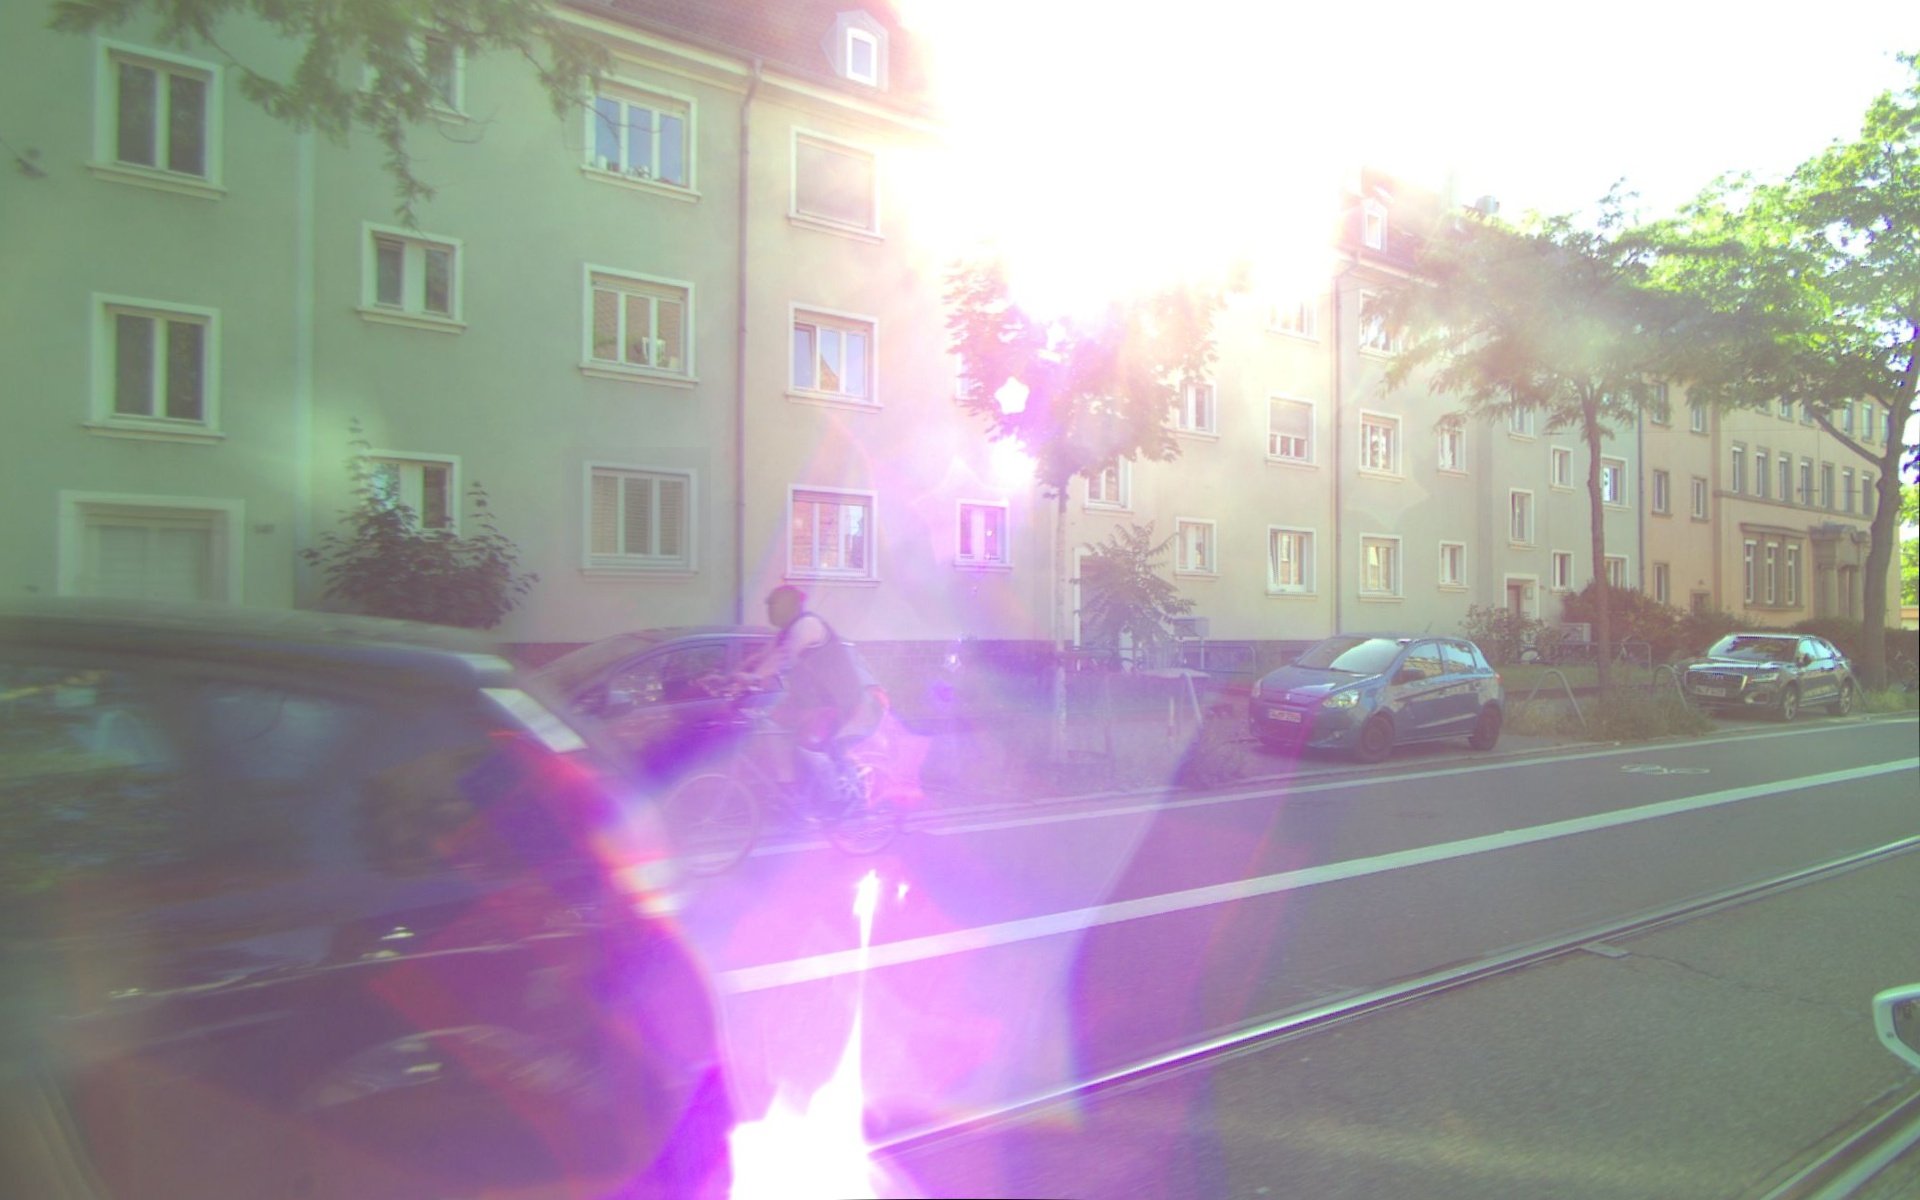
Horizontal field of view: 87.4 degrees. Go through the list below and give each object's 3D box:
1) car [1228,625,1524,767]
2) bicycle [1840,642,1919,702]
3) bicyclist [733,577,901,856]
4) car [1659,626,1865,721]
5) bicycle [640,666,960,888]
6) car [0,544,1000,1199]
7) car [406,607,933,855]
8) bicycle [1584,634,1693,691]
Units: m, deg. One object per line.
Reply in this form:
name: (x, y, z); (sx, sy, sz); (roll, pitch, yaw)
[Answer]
car: (5.339, 1.107, 12.743); (3.890, 1.476, 1.550); (1, 1, -34)
bicycle: (20.998, 1.596, 22.194); (0.552, 1.214, 2.278); (0, 1, -24)
bicyclist: (-0.923, 0.709, 6.426); (0.855, 1.628, 0.706); (1, -4, -31)
car: (15.095, 1.303, 18.850); (4.277, 1.510, 1.735); (1, 1, -33)
bicycle: (-0.985, 1.035, 6.377); (1.891, 1.193, 0.691); (1, -4, -32)
car: (-2.056, 0.675, 1.709); (4.027, 1.490, 1.690); (1, -1, -33)
car: (-2.243, 0.865, 8.022); (3.719, 1.505, 1.677); (1, 1, -33)
bicycle: (16.699, 1.505, 24.794); (0.552, 1.214, 2.278); (0, 1, -24)
